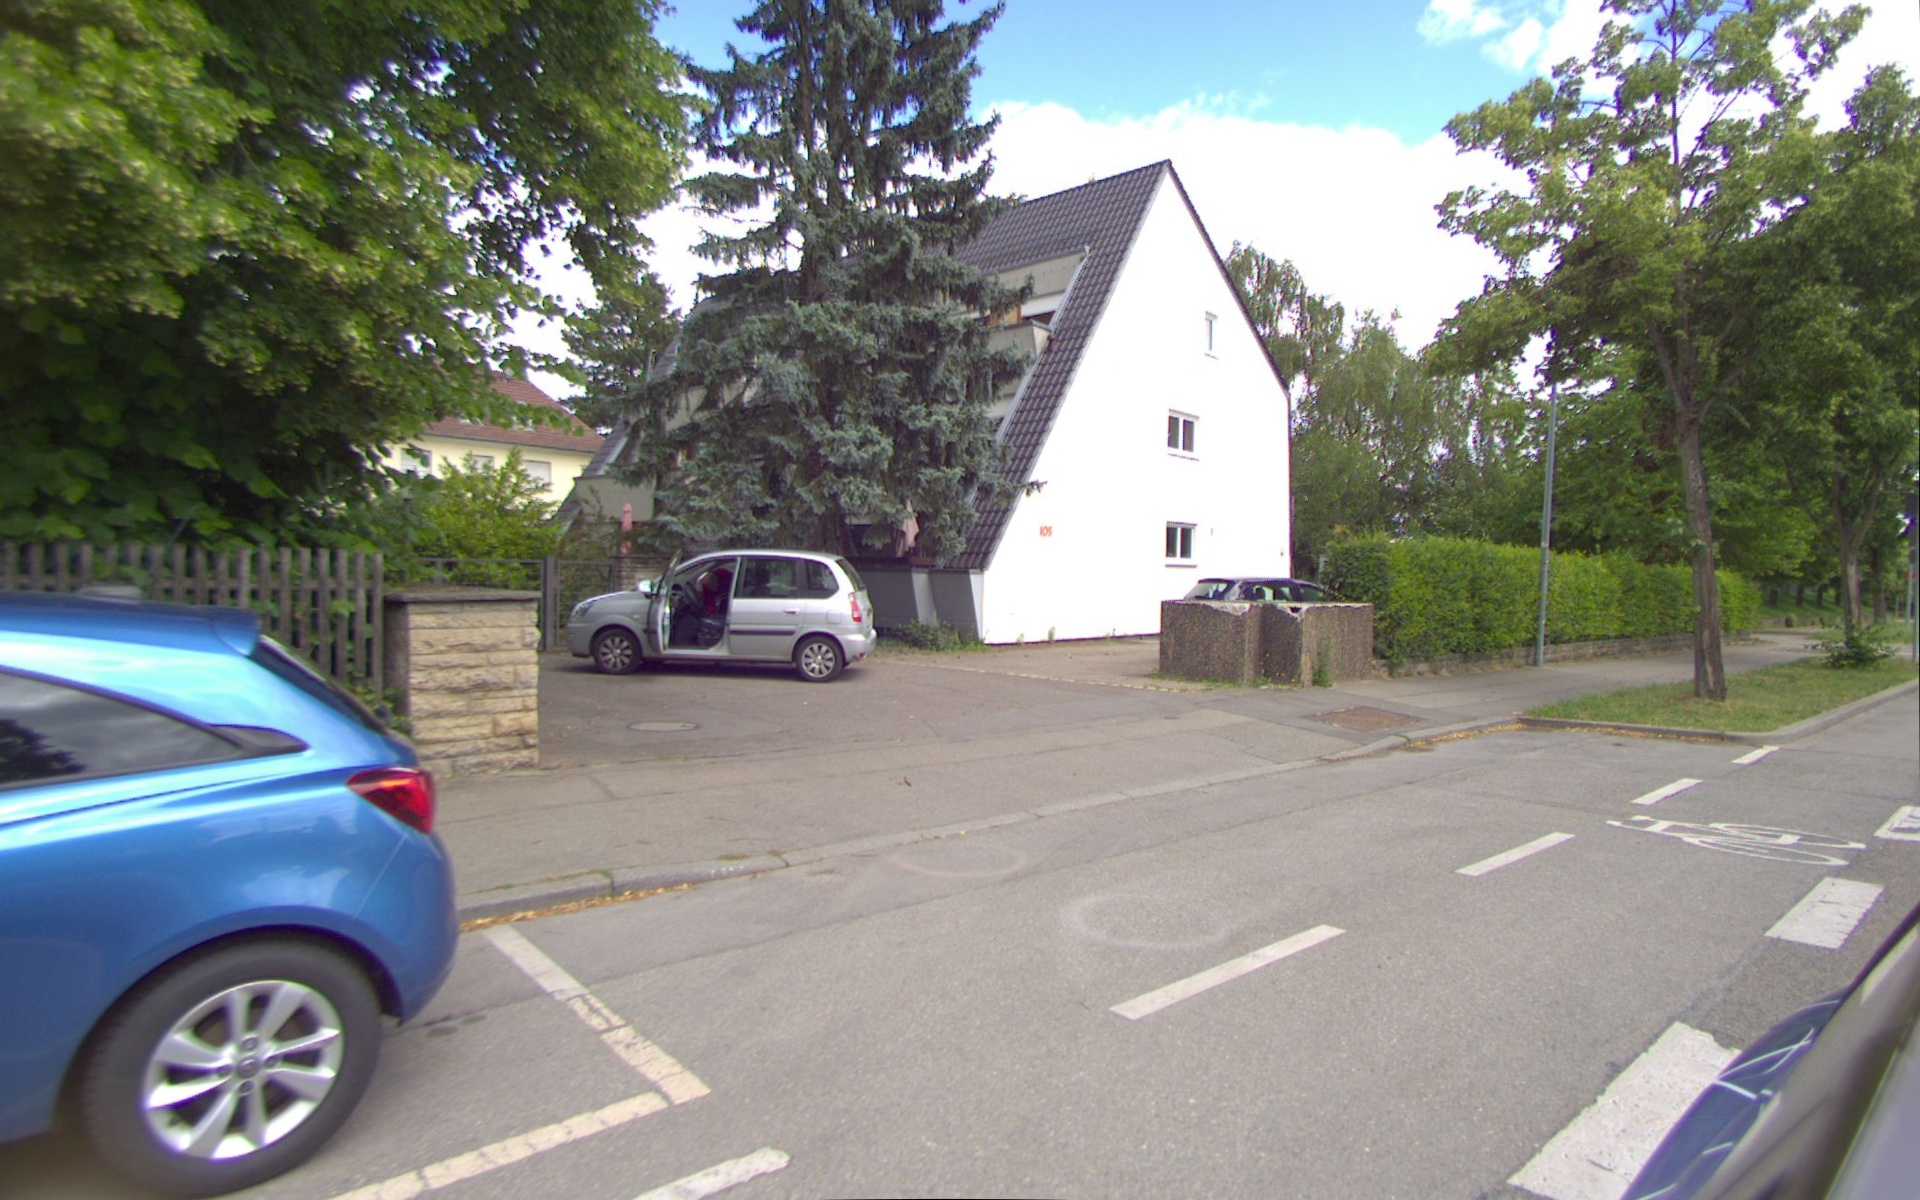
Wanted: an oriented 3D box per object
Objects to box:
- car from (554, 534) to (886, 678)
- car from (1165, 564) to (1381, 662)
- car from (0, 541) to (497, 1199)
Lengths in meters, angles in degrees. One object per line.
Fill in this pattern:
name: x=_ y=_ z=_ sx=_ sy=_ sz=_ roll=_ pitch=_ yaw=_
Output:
car: x=-3.039 y=0.048 z=13.392 sx=3.925 sy=1.681 sz=1.816 roll=1 pitch=1 yaw=1
car: x=5.403 y=0.210 z=17.604 sx=3.151 sy=1.587 sz=1.655 roll=1 pitch=1 yaw=-17
car: x=-3.280 y=0.626 z=2.161 sx=3.855 sy=1.520 sz=1.687 roll=-1 pitch=1 yaw=-43
